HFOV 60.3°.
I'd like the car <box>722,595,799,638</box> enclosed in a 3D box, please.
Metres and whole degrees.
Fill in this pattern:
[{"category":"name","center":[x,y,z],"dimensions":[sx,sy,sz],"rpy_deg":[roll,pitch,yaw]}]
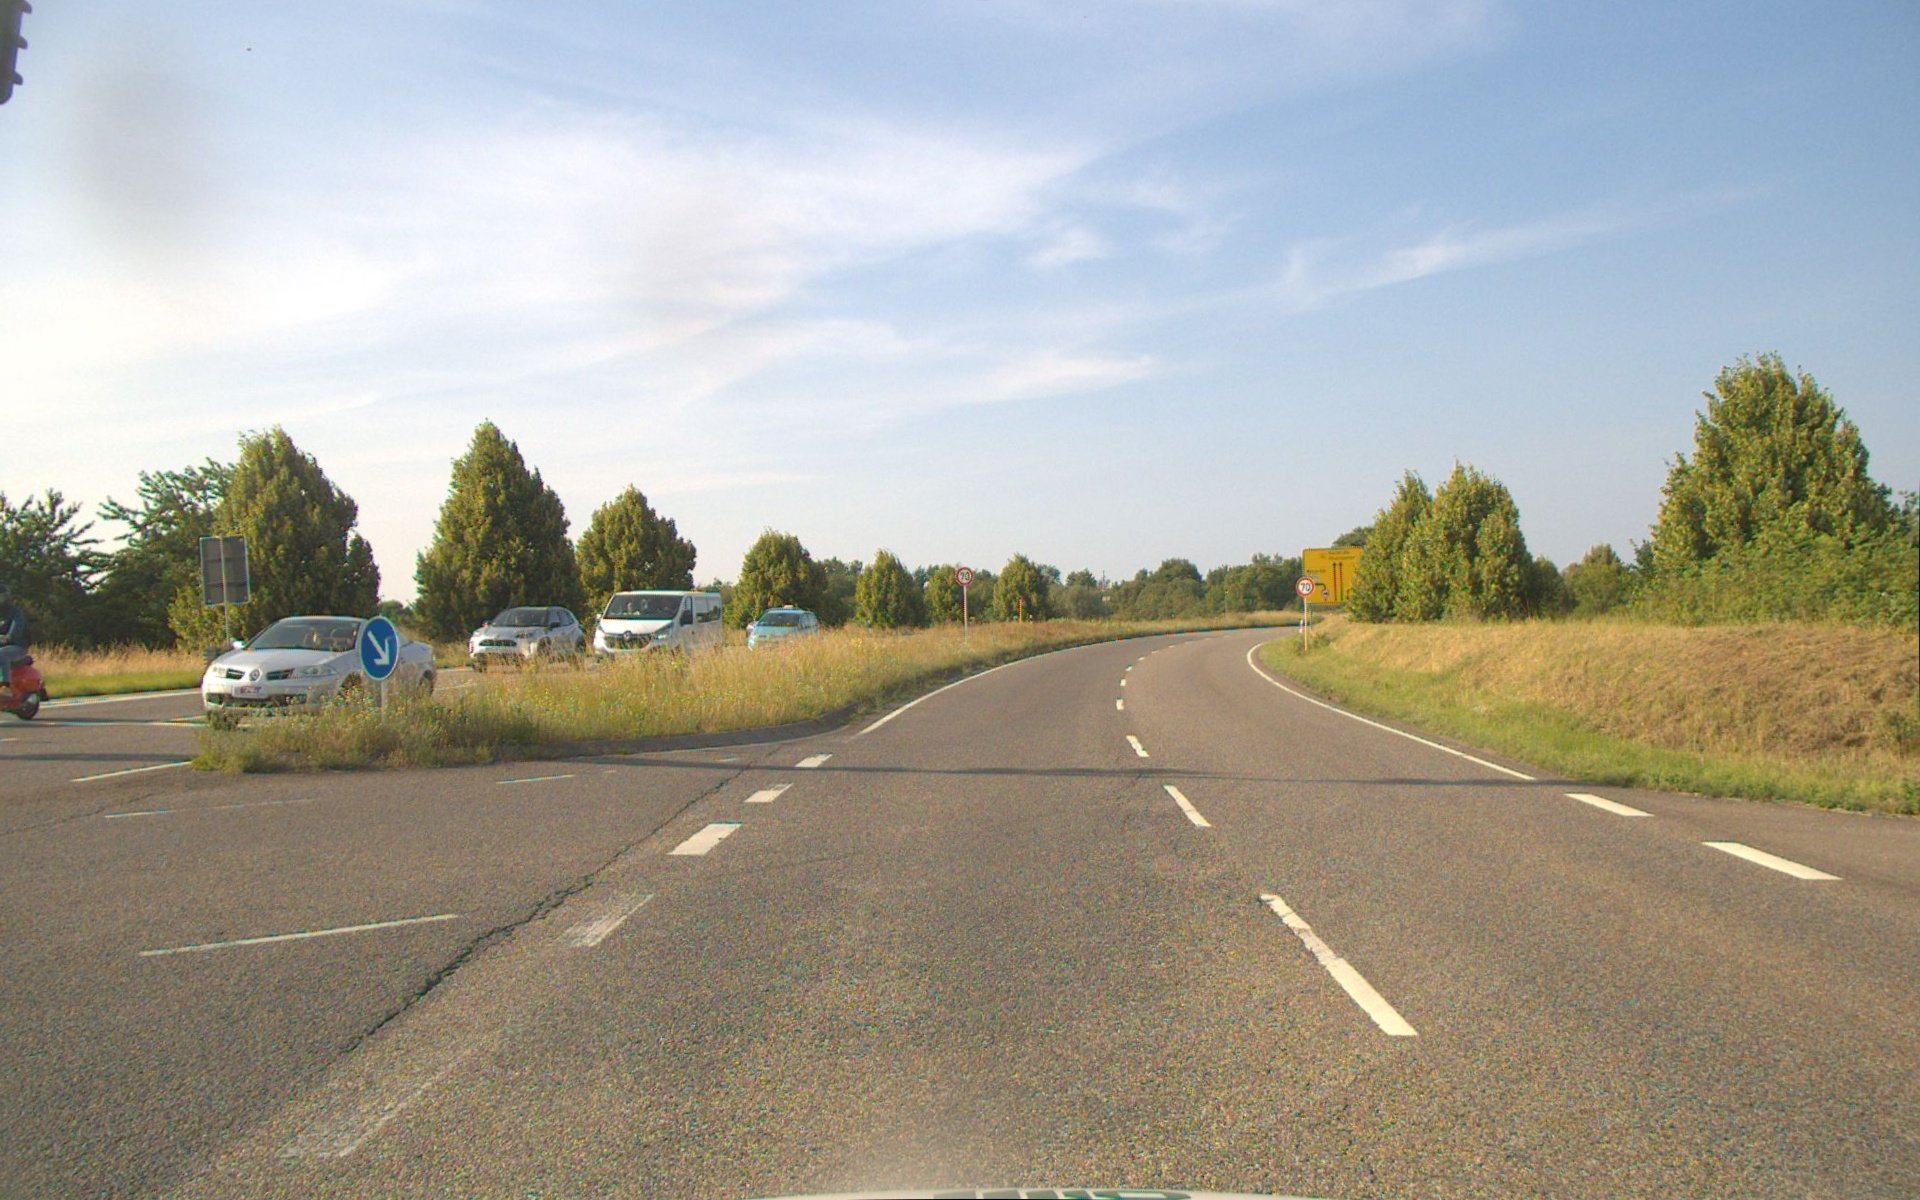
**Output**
[{"category":"car","center":[-7.765,0.631,64.696],"dimensions":[1.872,1.593,4.614],"rpy_deg":[0,0,8]}]

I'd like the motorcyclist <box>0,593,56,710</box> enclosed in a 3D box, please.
[{"category":"motorcyclist","center":[-12.413,0.658,21.521],"dimensions":[0.689,1.490,1.021],"rpy_deg":[0,-1,5]}]

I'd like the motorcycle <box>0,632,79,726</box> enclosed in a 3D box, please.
[{"category":"motorcycle","center":[-12.425,1.015,21.512],"dimensions":[0.692,1.179,2.024],"rpy_deg":[0,-1,5]}]

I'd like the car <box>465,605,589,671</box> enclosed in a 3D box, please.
[{"category":"car","center":[-10.524,0.902,40.453],"dimensions":[1.670,1.552,4.137],"rpy_deg":[0,-1,4]}]

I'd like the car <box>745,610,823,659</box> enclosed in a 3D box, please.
[{"category":"car","center":[-5.475,1.058,51.871],"dimensions":[1.643,1.469,3.754],"rpy_deg":[0,-1,7]}]

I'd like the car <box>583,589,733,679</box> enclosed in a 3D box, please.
[{"category":"car","center":[-6.938,0.757,38.653],"dimensions":[1.951,1.937,5.792],"rpy_deg":[0,-1,5]}]

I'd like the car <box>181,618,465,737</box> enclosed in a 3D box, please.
[{"category":"car","center":[-8.107,0.928,21.542],"dimensions":[1.658,1.377,4.455],"rpy_deg":[0,-1,5]}]
